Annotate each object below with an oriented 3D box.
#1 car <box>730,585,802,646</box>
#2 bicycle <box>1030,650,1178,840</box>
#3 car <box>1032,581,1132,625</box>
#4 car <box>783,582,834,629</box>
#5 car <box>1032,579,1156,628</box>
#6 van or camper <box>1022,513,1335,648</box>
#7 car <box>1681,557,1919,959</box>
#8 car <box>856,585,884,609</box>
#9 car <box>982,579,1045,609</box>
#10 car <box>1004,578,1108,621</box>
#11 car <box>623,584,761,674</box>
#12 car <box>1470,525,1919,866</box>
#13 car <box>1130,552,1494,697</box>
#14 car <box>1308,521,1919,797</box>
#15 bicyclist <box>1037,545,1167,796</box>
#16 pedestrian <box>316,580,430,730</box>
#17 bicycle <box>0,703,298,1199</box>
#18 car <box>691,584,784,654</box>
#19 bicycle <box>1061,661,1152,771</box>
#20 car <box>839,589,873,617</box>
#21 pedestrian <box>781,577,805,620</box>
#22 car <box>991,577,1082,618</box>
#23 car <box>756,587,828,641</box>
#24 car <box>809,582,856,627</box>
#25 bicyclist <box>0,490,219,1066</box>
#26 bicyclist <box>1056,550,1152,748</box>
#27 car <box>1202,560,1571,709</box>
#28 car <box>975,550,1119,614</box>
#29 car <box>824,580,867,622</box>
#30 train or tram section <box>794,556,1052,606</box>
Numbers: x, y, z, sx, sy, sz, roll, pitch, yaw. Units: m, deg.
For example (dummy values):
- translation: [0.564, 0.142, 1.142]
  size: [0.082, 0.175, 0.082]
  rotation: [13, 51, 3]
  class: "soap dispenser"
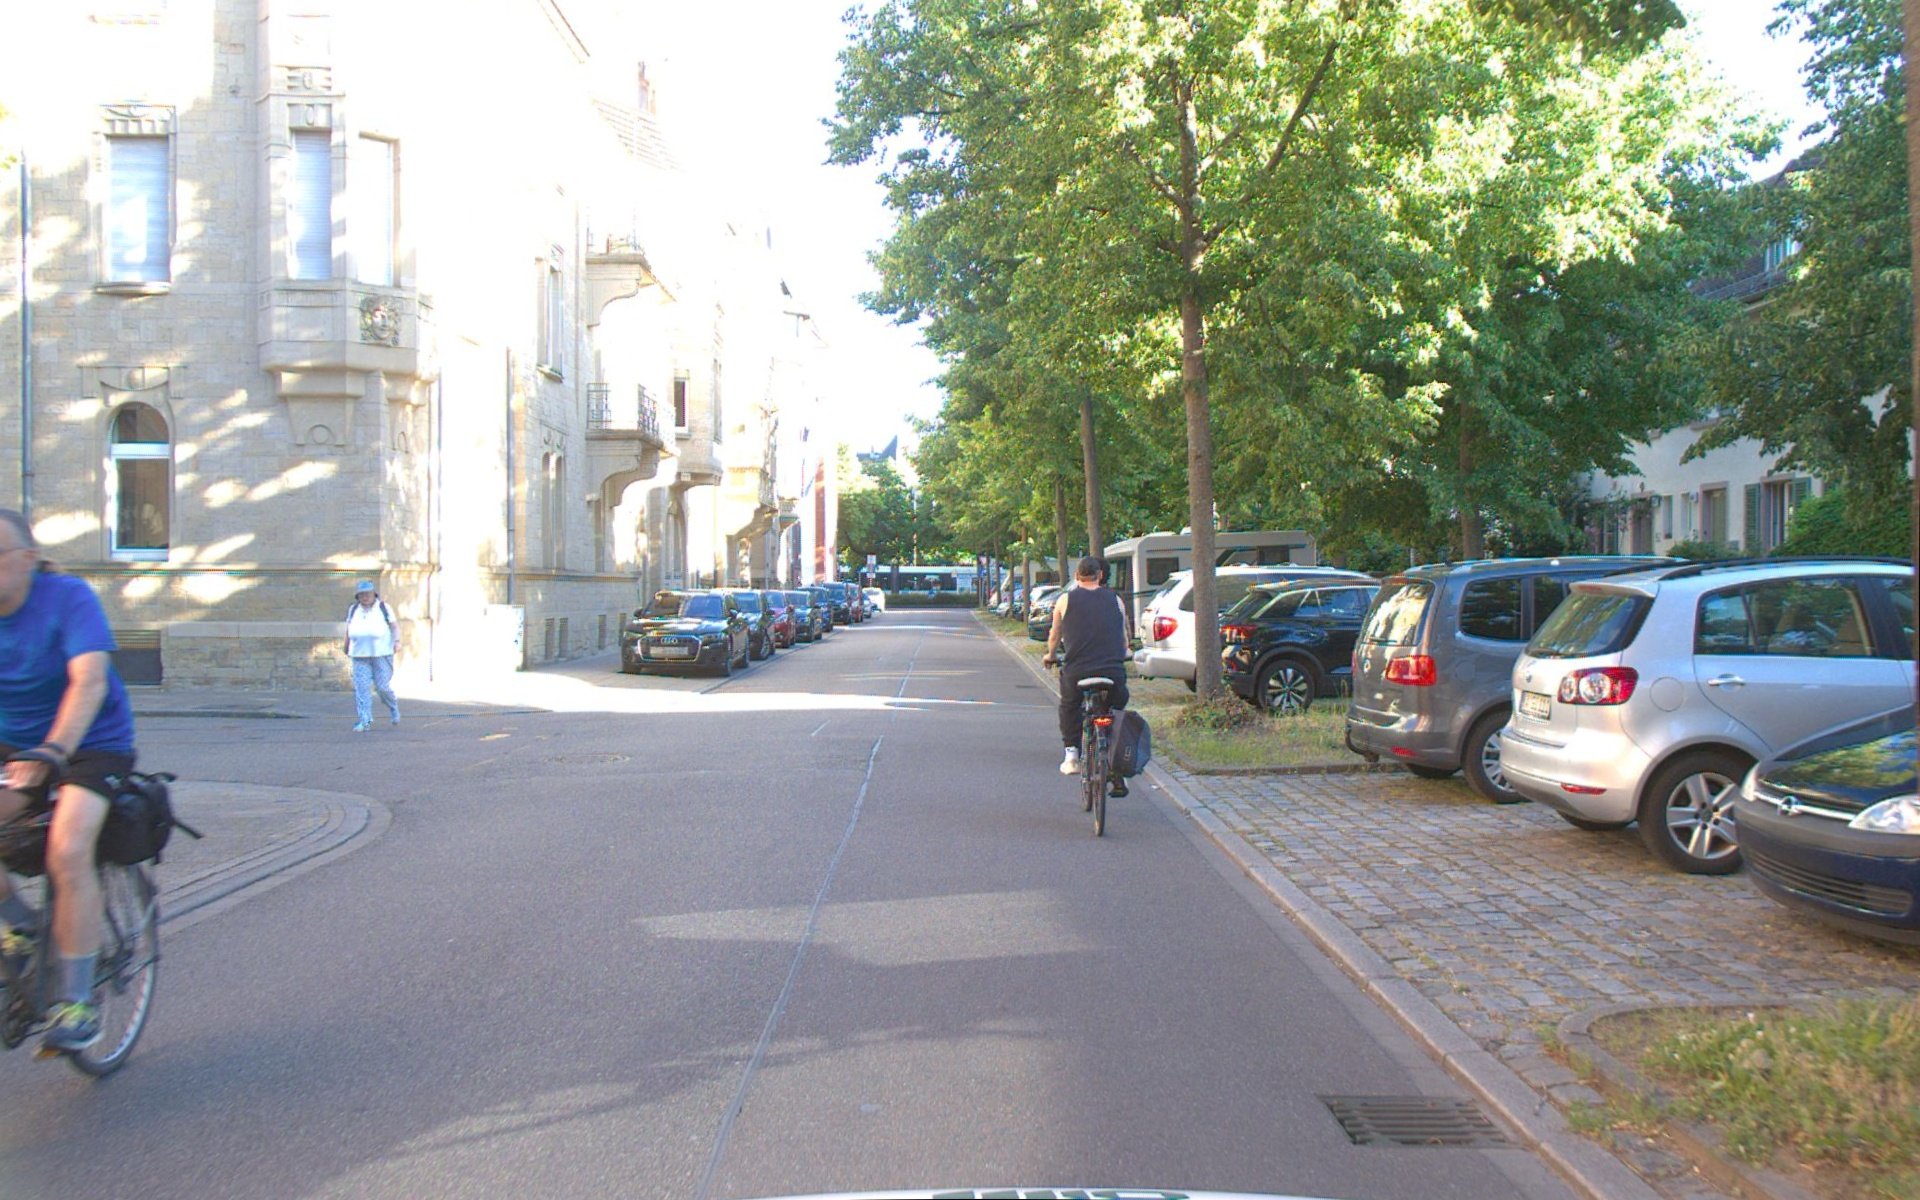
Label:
- translation: [-5.085, 0.375, 43.707]
  size: [1.596, 1.478, 3.836]
  rotation: [1, 1, -3]
  class: "car"
- translation: [0.907, 0.901, 10.933]
  size: [0.722, 1.072, 1.955]
  rotation: [2, 0, -2]
  class: "bicycle"
- translation: [4.644, 0.126, 63.247]
  size: [3.695, 1.628, 1.691]
  rotation: [-1, -2, 1]
  class: "car"
- translation: [-5.346, 0.179, 58.708]
  size: [1.564, 1.514, 2.736]
  rotation: [3, 1, -2]
  class: "car"
- translation: [4.575, 0.135, 56.798]
  size: [4.136, 1.628, 1.691]
  rotation: [-1, -2, 1]
  class: "car"
- translation: [5.041, -0.451, 39.153]
  size: [7.000, 2.693, 2.465]
  rotation: [-3, 0, 1]
  class: "van or camper"
- translation: [5.278, 0.505, 7.076]
  size: [3.647, 1.478, 1.589]
  rotation: [-3, 0, -1]
  class: "car"
- translation: [-5.803, -0.194, 107.210]
  size: [1.551, 1.399, 4.131]
  rotation: [2, 1, 0]
  class: "car"
- translation: [3.444, -0.370, 106.374]
  size: [3.907, 1.835, 1.833]
  rotation: [1, 0, -3]
  class: "car"
- translation: [3.778, 0.005, 65.750]
  size: [4.053, 1.628, 1.702]
  rotation: [-1, -2, 1]
  class: "car"
- translation: [-4.858, 0.496, 30.606]
  size: [1.774, 1.451, 4.897]
  rotation: [3, 0, -1]
  class: "car"
- translation: [5.260, 0.421, 9.354]
  size: [4.184, 1.662, 1.691]
  rotation: [-3, 0, 2]
  class: "car"
- translation: [4.687, 0.309, 22.496]
  size: [4.524, 1.739, 1.833]
  rotation: [-2, 0, 1]
  class: "car"
- translation: [5.079, 0.368, 12.345]
  size: [4.452, 1.662, 1.810]
  rotation: [-3, 0, -7]
  class: "car"
- translation: [0.923, 0.450, 10.965]
  size: [0.715, 1.574, 0.884]
  rotation: [2, -1, -2]
  class: "bicyclist"
- translation: [-6.550, 0.591, 18.510]
  size: [0.870, 1.604, 1.053]
  rotation: [-1, 1, -1]
  class: "pedestrian"
- translation: [-2.702, 0.928, 4.879]
  size: [0.742, 1.127, 1.907]
  rotation: [-1, 0, -1]
  class: "bicycle"
- translation: [-4.885, 0.409, 36.741]
  size: [1.662, 1.479, 4.026]
  rotation: [0, 0, -2]
  class: "car"
- translation: [1.264, 0.992, 14.554]
  size: [0.620, 0.813, 1.832]
  rotation: [0, 1, -1]
  class: "bicycle"
- translation: [-5.636, 0.137, 89.997]
  size: [1.551, 1.367, 4.131]
  rotation: [2, 1, 0]
  class: "car"
- translation: [-6.950, -0.070, 68.885]
  size: [0.919, 1.773, 0.735]
  rotation: [1, -1, 0]
  class: "pedestrian"
- translation: [3.538, -0.120, 76.614]
  size: [4.001, 1.678, 1.640]
  rotation: [-3, 0, -3]
  class: "car"
- translation: [-4.977, 0.384, 49.538]
  size: [1.641, 1.455, 4.550]
  rotation: [2, 1, 0]
  class: "car"
- translation: [-5.503, 0.179, 71.742]
  size: [1.607, 1.814, 4.354]
  rotation: [2, 1, 0]
  class: "car"
- translation: [-2.705, 0.463, 4.722]
  size: [0.744, 1.479, 0.948]
  rotation: [-1, 0, -1]
  class: "bicyclist"
- translation: [1.254, 0.414, 14.529]
  size: [0.675, 1.655, 0.998]
  rotation: [2, 0, -1]
  class: "bicyclist"
- translation: [5.074, 0.382, 20.038]
  size: [3.985, 1.502, 1.694]
  rotation: [-3, 1, 0]
  class: "car"
- translation: [4.384, -0.912, 84.123]
  size: [7.005, 3.030, 2.463]
  rotation: [-2, 0, -4]
  class: "car"
- translation: [-5.423, 0.011, 78.669]
  size: [1.654, 1.857, 4.273]
  rotation: [2, 1, 0]
  class: "car"
- translation: [-3.135, -1.616, 149.780]
  size: [23.483, 3.773, 4.255]
  rotation: [2, 0, -23]
  class: "train or tram section"
